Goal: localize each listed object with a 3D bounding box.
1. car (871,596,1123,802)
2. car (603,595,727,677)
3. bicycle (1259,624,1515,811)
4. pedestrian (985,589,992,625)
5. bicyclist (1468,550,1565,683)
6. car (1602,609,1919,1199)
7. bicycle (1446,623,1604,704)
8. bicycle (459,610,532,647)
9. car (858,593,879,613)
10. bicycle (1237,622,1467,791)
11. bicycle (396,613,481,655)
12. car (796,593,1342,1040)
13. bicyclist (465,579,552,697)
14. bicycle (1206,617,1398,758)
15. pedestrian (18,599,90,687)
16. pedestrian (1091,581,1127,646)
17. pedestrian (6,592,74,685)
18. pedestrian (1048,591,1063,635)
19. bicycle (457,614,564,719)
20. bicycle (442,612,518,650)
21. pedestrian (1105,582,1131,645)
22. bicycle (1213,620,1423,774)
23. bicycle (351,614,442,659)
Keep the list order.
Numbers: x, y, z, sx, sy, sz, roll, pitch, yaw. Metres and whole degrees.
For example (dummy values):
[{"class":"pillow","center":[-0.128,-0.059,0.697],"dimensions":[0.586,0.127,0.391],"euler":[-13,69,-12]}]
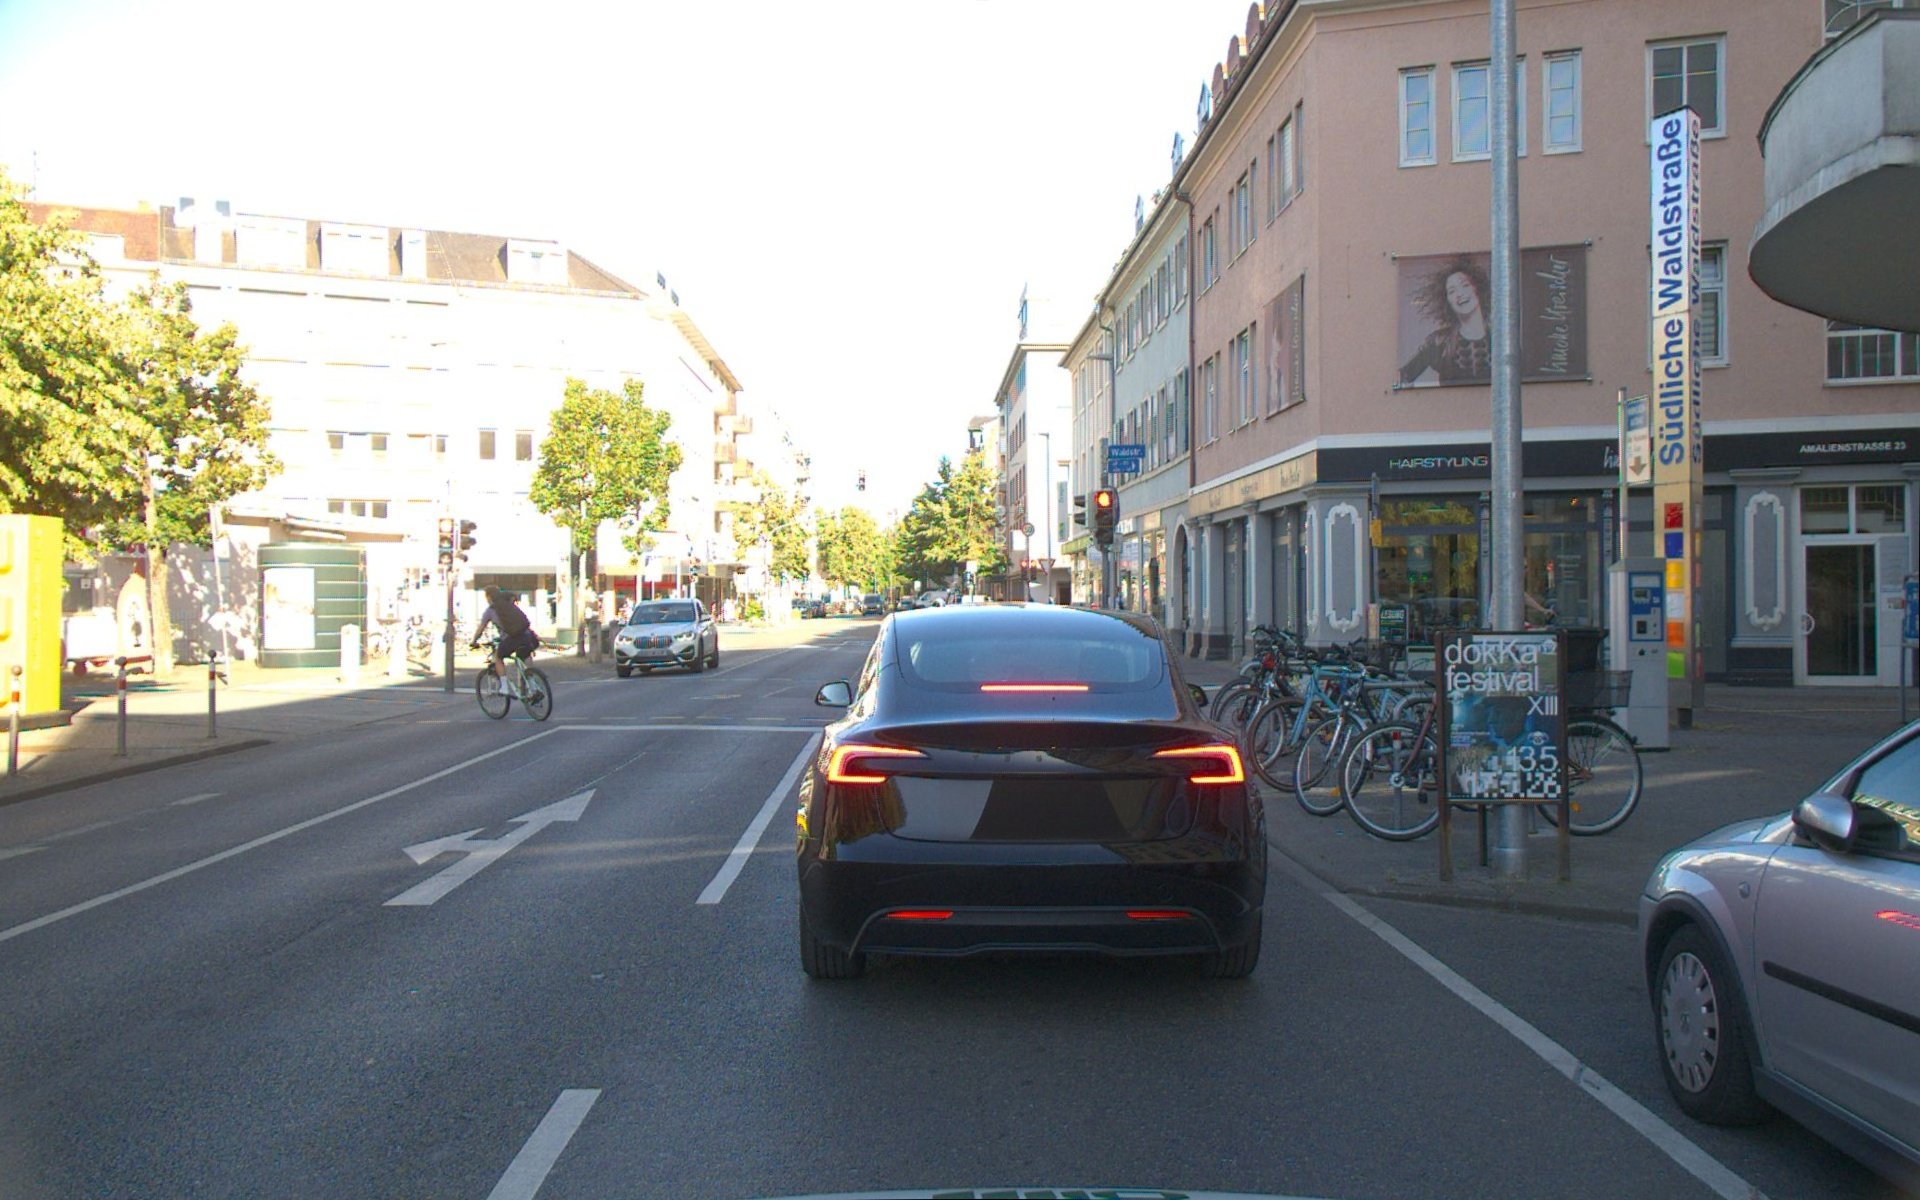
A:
[{"class":"car","center":[0.267,0.708,13.821],"dimensions":[1.812,1.480,3.786],"euler":[0,0,0]},{"class":"car","center":[-6.369,0.728,36.136],"dimensions":[1.953,1.567,3.999],"euler":[-4,0,-1]},{"class":"bicycle","center":[2.887,0.787,11.234],"dimensions":[1.595,1.180,0.432],"euler":[-2,0,-2]},{"class":"pedestrian","center":[1.662,0.414,95.566],"dimensions":[0.376,2.049,0.297],"euler":[0,0,-1]},{"class":"bicyclist","center":[7.127,0.206,21.217],"dimensions":[1.096,1.683,0.629],"euler":[0,0,10]},{"class":"car","center":[2.917,0.744,3.534],"dimensions":[1.588,1.419,3.886],"euler":[0,0,0]},{"class":"bicycle","center":[7.215,0.800,21.198],"dimensions":[1.823,0.962,0.629],"euler":[1,0,10]},{"class":"bicycle","center":[-14.575,0.892,51.938],"dimensions":[2.040,1.123,0.806],"euler":[0,0,-1]},{"class":"car","center":[-8.107,0.267,147.250],"dimensions":[1.793,1.754,3.998],"euler":[0,0,-2]},{"class":"bicycle","center":[2.927,0.785,12.403],"dimensions":[1.595,1.180,0.432],"euler":[-2,0,-2]},{"class":"bicycle","center":[-14.163,0.915,44.976],"dimensions":[2.040,1.123,0.806],"euler":[0,0,-1]},{"class":"car","center":[0.363,0.716,7.380],"dimensions":[1.812,1.480,3.786],"euler":[0,0,0]},{"class":"bicyclist","center":[-5.779,0.473,21.174],"dimensions":[0.790,1.460,0.995],"euler":[0,0,-35]},{"class":"bicycle","center":[3.050,0.772,14.798],"dimensions":[1.594,1.180,0.433],"euler":[-2,0,0]},{"class":"pedestrian","center":[-17.481,0.815,31.915],"dimensions":[0.966,1.665,0.737],"euler":[0,0,3]},{"class":"pedestrian","center":[4.328,0.384,48.088],"dimensions":[0.979,1.883,0.615],"euler":[0,0,-1]},{"class":"pedestrian","center":[-17.651,0.734,31.745],"dimensions":[0.882,1.755,0.744],"euler":[0,0,3]},{"class":"pedestrian","center":[3.742,0.492,65.074],"dimensions":[0.559,1.720,0.387],"euler":[0,0,-1]},{"class":"bicycle","center":[-5.762,0.823,21.149],"dimensions":[0.789,1.254,1.752],"euler":[0,0,-35]},{"class":"bicycle","center":[-14.432,0.933,49.746],"dimensions":[2.040,1.123,0.806],"euler":[0,0,-1]},{"class":"pedestrian","center":[4.600,0.397,48.082],"dimensions":[0.689,1.814,0.533],"euler":[0,0,-1]},{"class":"bicycle","center":[2.933,0.785,13.603],"dimensions":[1.595,1.180,0.432],"euler":[-2,0,-2]},{"class":"bicycle","center":[-14.456,0.927,42.451],"dimensions":[2.040,1.123,0.806],"euler":[0,0,-1]}]
